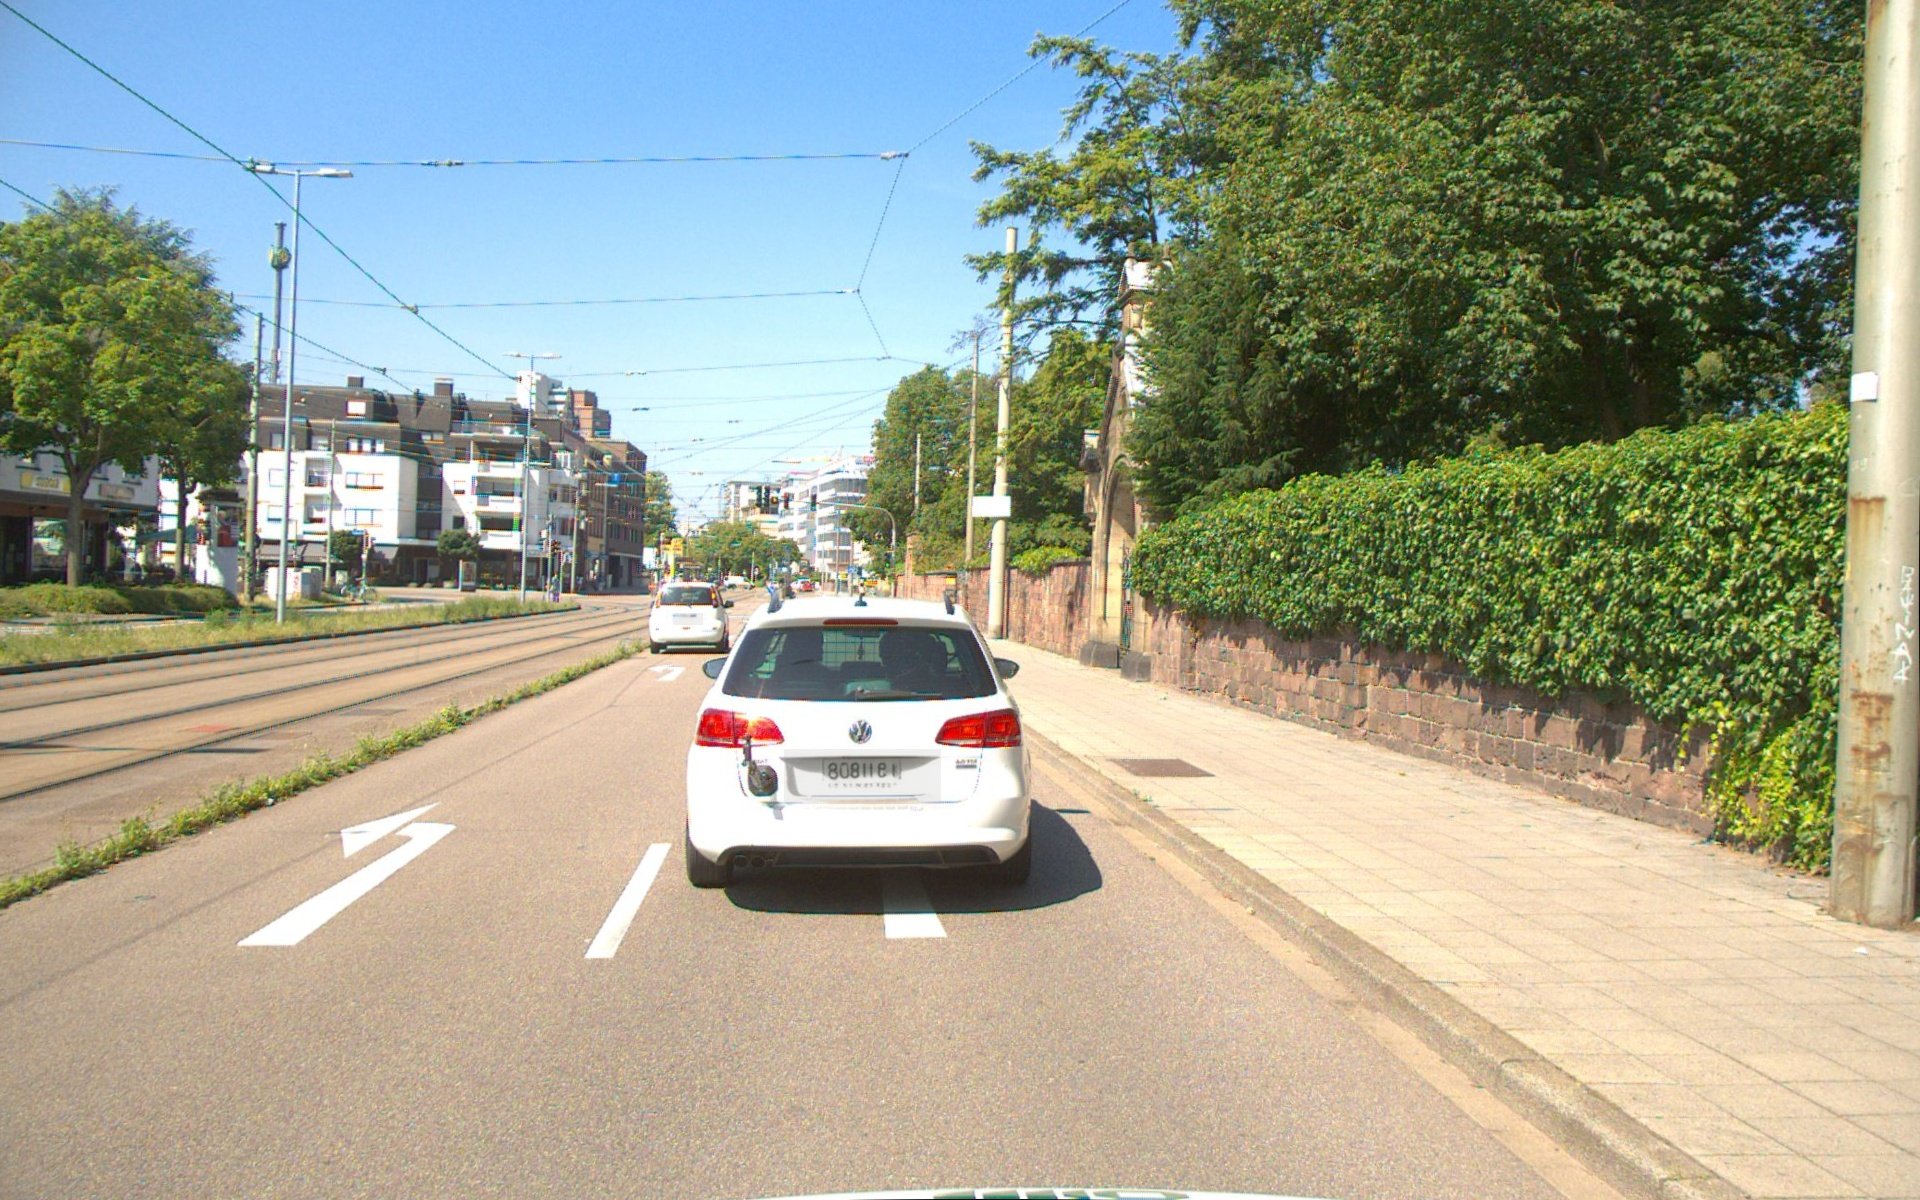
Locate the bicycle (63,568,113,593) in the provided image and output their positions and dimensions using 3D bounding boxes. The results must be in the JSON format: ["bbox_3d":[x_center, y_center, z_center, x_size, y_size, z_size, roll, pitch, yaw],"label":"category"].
[{"bbox_3d":[-32.870,-0.747,62.391,0.768,0.904,2.388,1,0,-5],"label":"bicycle"}]

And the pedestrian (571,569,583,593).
[{"bbox_3d":[-33.372,-1.637,144.222,0.919,2.049,0.989,1,0,-9],"label":"pedestrian"}]

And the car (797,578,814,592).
[{"bbox_3d":[-22.369,-2.177,239.123,1.959,1.937,3.988,1,0,-13],"label":"car"}]

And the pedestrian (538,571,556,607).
[{"bbox_3d":[-20.680,-0.546,82.897,0.812,1.769,0.929,1,0,-13],"label":"pedestrian"}]

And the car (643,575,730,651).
[{"bbox_3d":[-6.201,0.261,37.795,1.697,1.624,4.006,1,0,-6],"label":"car"}]

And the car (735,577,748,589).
[{"bbox_3d":[-30.799,-2.397,233.399,1.666,1.619,3.530,1,1,-6],"label":"car"}]

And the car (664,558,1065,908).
[{"bbox_3d":[-0.458,0.573,9.248,1.742,1.516,3.846,1,0,-1],"label":"car"}]

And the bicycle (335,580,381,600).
[{"bbox_3d":[-29.112,-0.472,79.998,0.543,0.937,2.167,1,0,38],"label":"bicycle"}]

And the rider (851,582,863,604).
[{"bbox_3d":[-8.341,-0.542,133.841,0.873,1.759,2.201,1,0,-5],"label":"rider"}]

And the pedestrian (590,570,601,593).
[{"bbox_3d":[-32.938,-1.675,149.532,0.920,2.049,0.988,1,0,-11],"label":"pedestrian"}]
